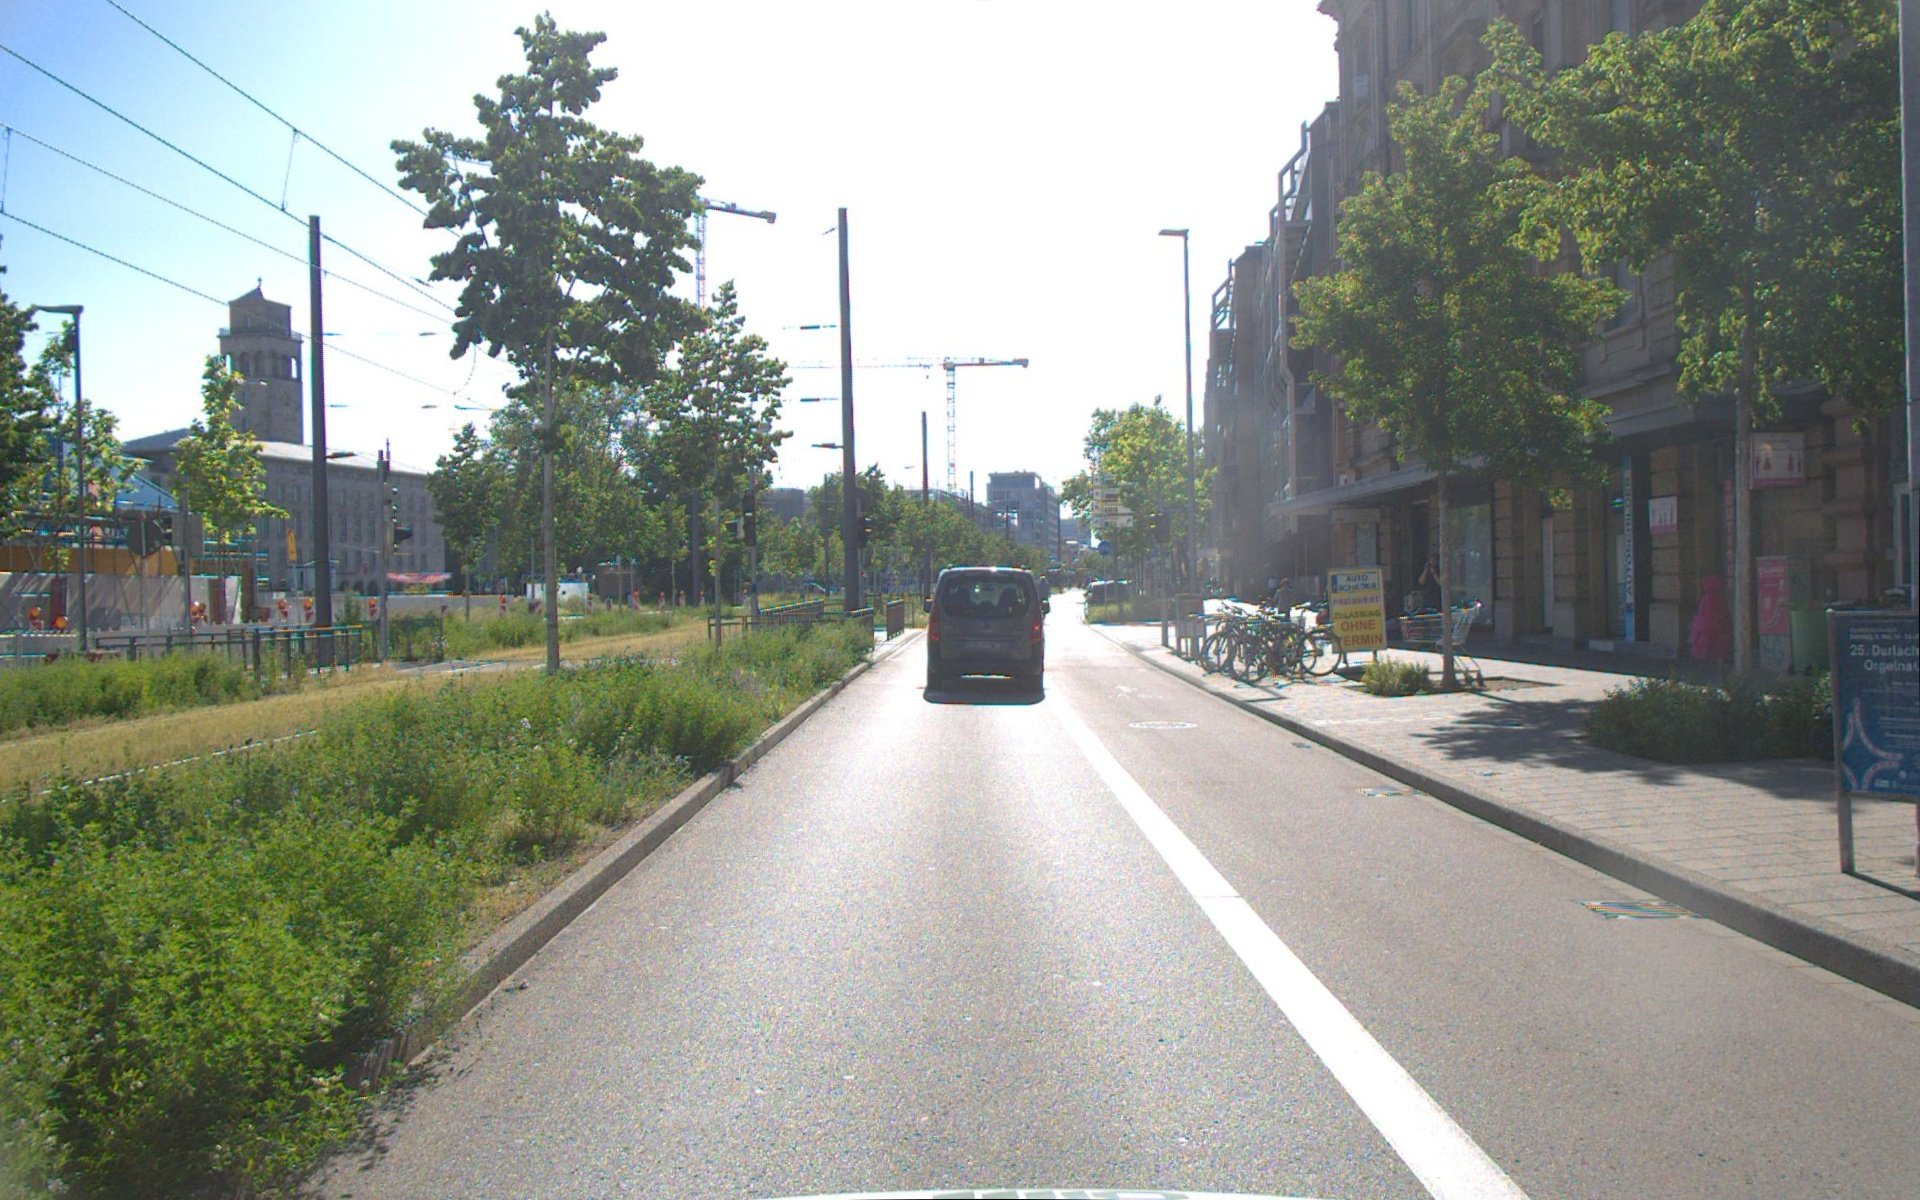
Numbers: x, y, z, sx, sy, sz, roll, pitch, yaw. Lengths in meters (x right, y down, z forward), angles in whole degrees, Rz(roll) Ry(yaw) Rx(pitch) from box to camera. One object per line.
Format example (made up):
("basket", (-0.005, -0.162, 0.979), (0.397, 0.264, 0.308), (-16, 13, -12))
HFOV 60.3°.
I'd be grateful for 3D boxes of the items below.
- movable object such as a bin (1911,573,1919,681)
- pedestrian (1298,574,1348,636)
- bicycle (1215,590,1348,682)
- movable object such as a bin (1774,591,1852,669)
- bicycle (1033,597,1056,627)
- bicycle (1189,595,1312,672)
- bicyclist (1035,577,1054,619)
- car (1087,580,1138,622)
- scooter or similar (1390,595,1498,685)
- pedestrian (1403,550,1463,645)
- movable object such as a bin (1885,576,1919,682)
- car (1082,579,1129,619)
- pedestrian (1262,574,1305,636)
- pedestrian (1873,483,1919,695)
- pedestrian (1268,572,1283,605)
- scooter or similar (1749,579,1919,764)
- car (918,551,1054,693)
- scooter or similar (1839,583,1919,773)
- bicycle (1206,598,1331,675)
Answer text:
("movable object such as a bin", (10.353, 0.279, 16.985), (0.711, 1.117, 0.746), (-1, 0, -6))
("pedestrian", (8.200, 0.110, 37.414), (0.816, 1.309, 1.007), (-5, 0, 0))
("bicycle", (4.864, 0.536, 25.054), (1.843, 1.255, 0.499), (-4, 0, -7))
("movable object such as a bin", (10.458, 0.363, 20.290), (0.592, 0.932, 0.649), (-1, 0, -6))
("bicycle", (3.255, 0.447, 63.700), (0.687, 1.110, 2.276), (-1, 0, -2))
("bicycle", (4.932, 0.558, 28.108), (1.880, 1.140, 0.664), (-4, 0, -8))
("bicyclist", (3.243, -0.070, 63.637), (0.669, 1.612, 0.839), (-1, 0, -2))
("car", (6.169, 0.050, 67.275), (1.947, 1.666, 4.191), (0, 0, 4))
("scooter or similar", (6.497, 0.526, 22.250), (1.195, 1.125, 0.783), (-2, 1, 1))
("pedestrian", (9.038, -0.047, 31.654), (0.827, 1.772, 0.886), (-2, -1, -1))
("movable object such as a bin", (10.511, 0.303, 17.757), (0.711, 1.117, 0.746), (-1, 0, -6))
("car", (6.456, -0.029, 73.601), (1.979, 1.752, 4.120), (0, 0, 4))
("pedestrian", (7.507, 0.123, 38.439), (0.688, 1.359, 1.011), (-5, -1, 0))
("pedestrian", (9.686, -0.099, 16.237), (0.801, 2.049, 1.045), (0, -2, -2))
("pedestrian", (16.544, -0.607, 86.677), (0.685, 1.681, 0.724), (-1, 0, 7))
("scooter or similar", (6.701, 0.508, 12.258), (1.448, 1.237, 0.600), (-3, 1, -12))
("car", (0.341, 0.282, 25.901), (1.953, 2.049, 3.999), (0, 1, -1))
("scooter or similar", (7.008, 0.498, 11.520), (1.445, 1.237, 0.601), (-3, 1, -5))
("bicycle", (4.954, 0.579, 26.592), (1.790, 1.097, 0.664), (-4, 0, -8))
